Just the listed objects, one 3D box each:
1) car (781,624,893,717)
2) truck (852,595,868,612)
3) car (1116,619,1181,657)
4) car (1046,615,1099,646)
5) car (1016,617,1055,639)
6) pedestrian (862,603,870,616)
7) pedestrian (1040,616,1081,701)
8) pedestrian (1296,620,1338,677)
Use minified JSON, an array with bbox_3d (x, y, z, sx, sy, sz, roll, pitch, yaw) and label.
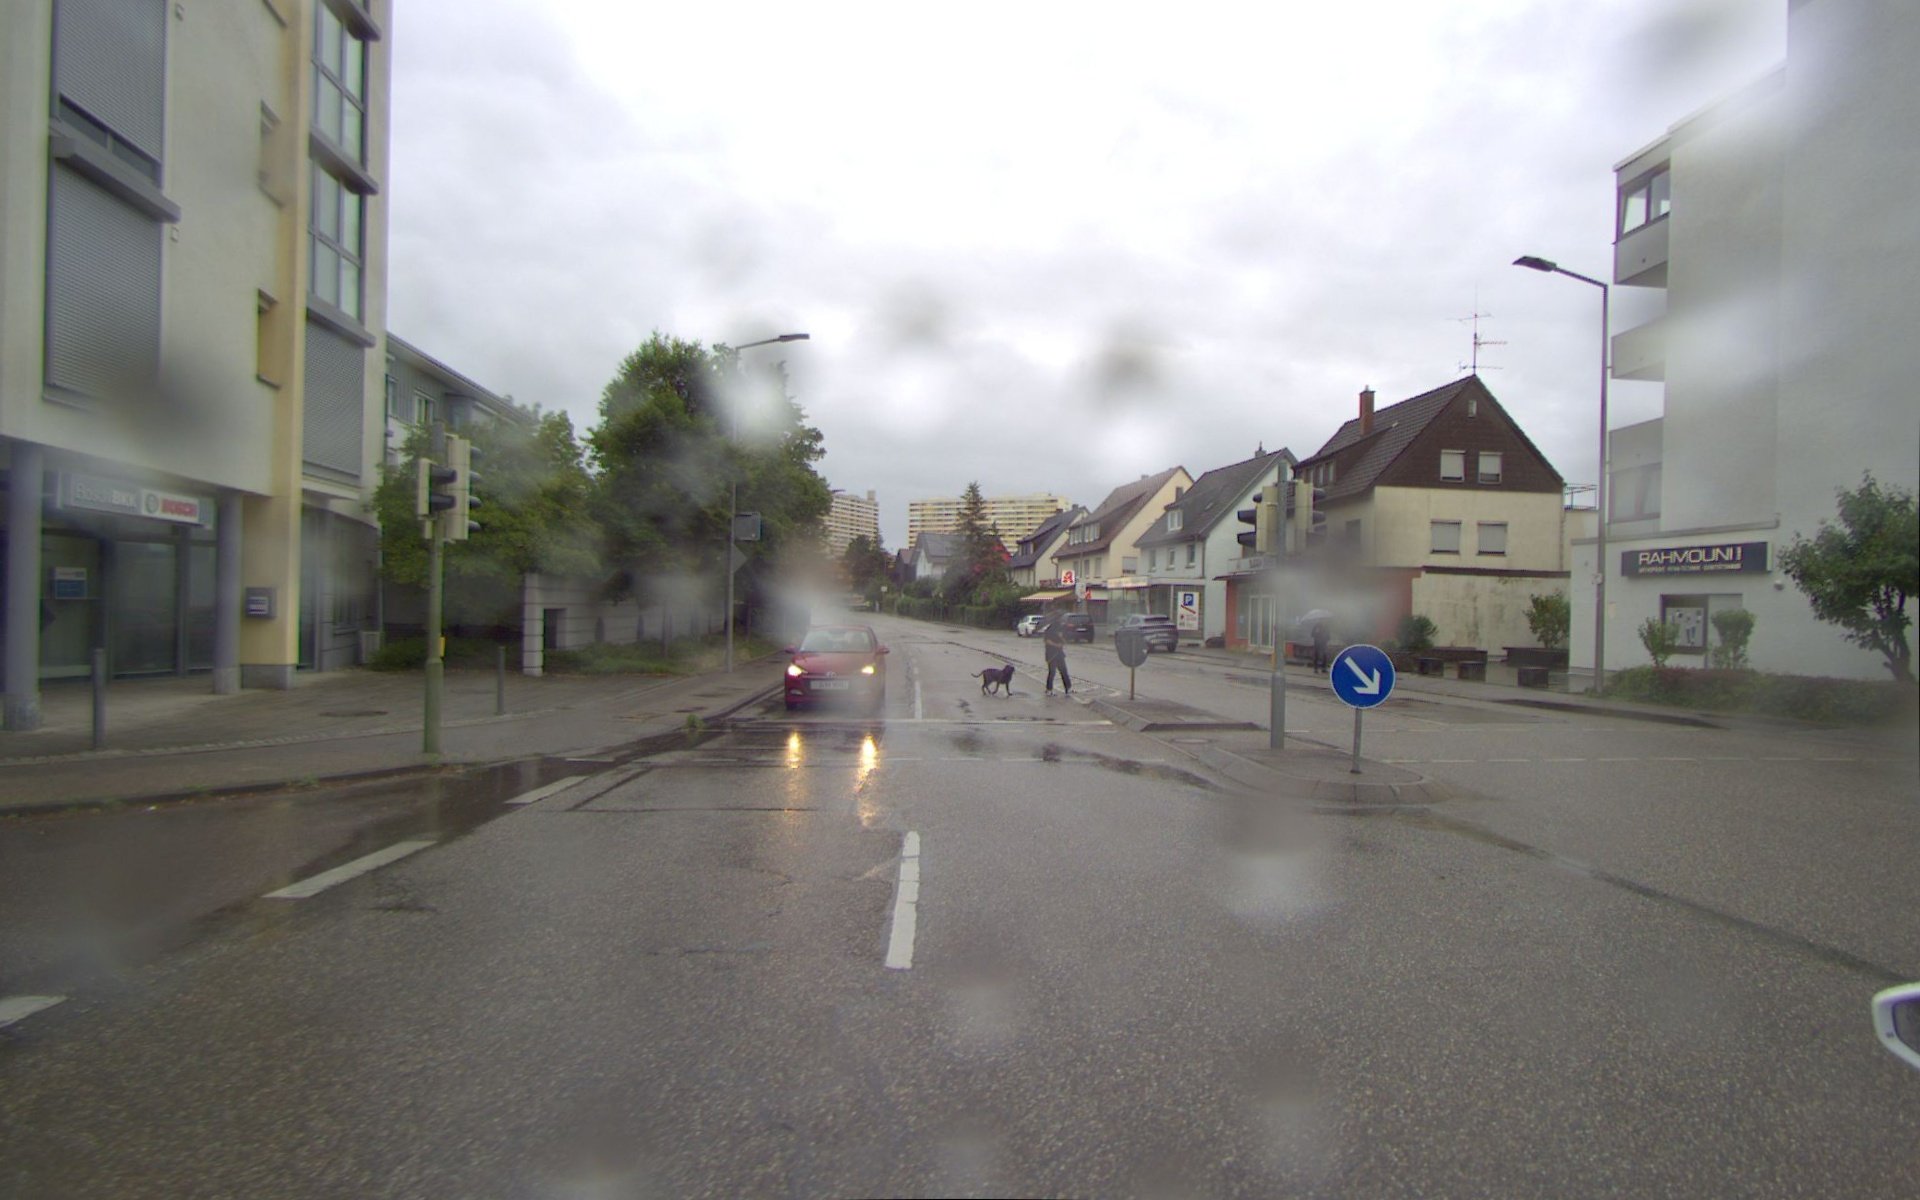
[{"bbox_3d":[-2.196,1.228,18.929,1.746,1.526,4.103,-1,-1,-3],"label":"car"},{"bbox_3d":[-14.751,0.521,147.941,1.964,2.334,3.992,1,0,-10],"label":"truck"},{"bbox_3d":[8.789,1.758,47.182,1.845,1.664,4.790,-1,-1,-4],"label":"car"},{"bbox_3d":[6.636,1.805,59.984,2.004,1.717,4.957,-1,-1,-7],"label":"car"},{"bbox_3d":[5.212,1.911,69.692,1.788,1.467,4.197,0,0,-9],"label":"car"},{"bbox_3d":[-13.436,1.353,143.771,0.816,1.821,0.793,1,0,-32],"label":"pedestrian"},{"bbox_3d":[2.140,1.221,21.263,0.655,1.725,0.947,2,-1,15],"label":"pedestrian"},{"bbox_3d":[10.461,1.409,29.451,0.741,1.588,0.993,3,-2,-4],"label":"pedestrian"}]
